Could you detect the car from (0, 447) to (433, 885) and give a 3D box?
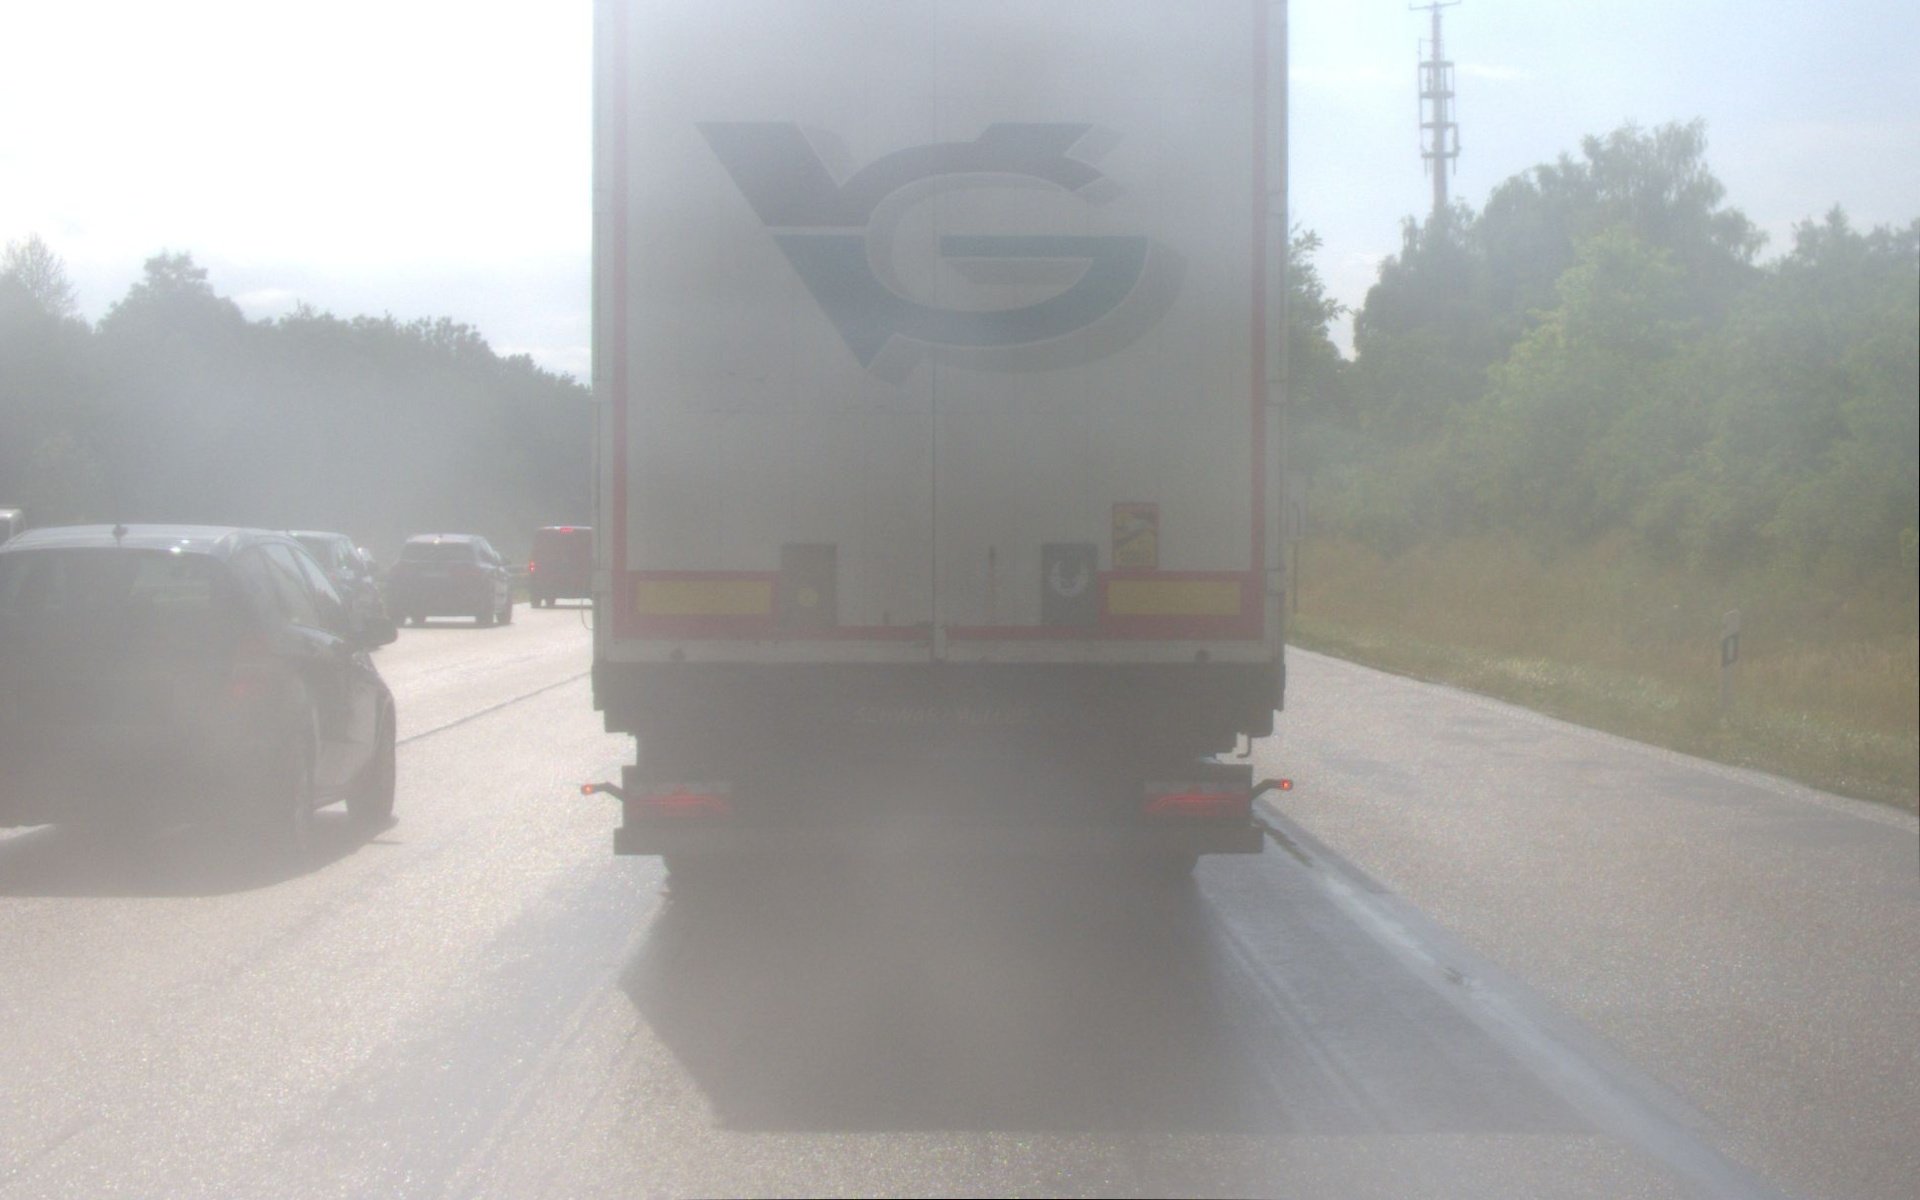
[{"bbox_3d":[-4.069,0.270,17.813,2.274,1.948,4.822,1,1,-5],"label":"car"}]

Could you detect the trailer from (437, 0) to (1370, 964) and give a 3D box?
[{"bbox_3d":[-0.327,-0.790,19.396,3.283,3.885,14.130,1,1,-1],"label":"trailer"}]

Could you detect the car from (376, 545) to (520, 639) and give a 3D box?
[{"bbox_3d":[-9.380,-0.183,63.332,1.909,1.631,4.617,-1,1,0],"label":"car"}]

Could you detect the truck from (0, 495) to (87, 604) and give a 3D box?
[{"bbox_3d":[-17.594,-0.915,62.182,2.257,1.888,5.447,1,1,-1],"label":"truck"}]

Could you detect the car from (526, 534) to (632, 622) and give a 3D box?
[{"bbox_3d":[-9.207,-0.544,83.382,1.978,2.047,4.756,1,1,0],"label":"car"}]

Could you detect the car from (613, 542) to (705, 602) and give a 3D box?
[{"bbox_3d":[-8.090,-0.755,92.746,1.993,1.559,4.756,1,1,0],"label":"car"}]

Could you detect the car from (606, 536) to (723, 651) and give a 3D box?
[{"bbox_3d":[-4.834,-0.127,56.682,1.692,1.798,3.976,1,1,-2],"label":"car"}]

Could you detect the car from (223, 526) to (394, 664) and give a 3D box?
[{"bbox_3d":[-8.883,-0.087,47.125,1.692,1.798,3.976,1,1,-2],"label":"car"}]
